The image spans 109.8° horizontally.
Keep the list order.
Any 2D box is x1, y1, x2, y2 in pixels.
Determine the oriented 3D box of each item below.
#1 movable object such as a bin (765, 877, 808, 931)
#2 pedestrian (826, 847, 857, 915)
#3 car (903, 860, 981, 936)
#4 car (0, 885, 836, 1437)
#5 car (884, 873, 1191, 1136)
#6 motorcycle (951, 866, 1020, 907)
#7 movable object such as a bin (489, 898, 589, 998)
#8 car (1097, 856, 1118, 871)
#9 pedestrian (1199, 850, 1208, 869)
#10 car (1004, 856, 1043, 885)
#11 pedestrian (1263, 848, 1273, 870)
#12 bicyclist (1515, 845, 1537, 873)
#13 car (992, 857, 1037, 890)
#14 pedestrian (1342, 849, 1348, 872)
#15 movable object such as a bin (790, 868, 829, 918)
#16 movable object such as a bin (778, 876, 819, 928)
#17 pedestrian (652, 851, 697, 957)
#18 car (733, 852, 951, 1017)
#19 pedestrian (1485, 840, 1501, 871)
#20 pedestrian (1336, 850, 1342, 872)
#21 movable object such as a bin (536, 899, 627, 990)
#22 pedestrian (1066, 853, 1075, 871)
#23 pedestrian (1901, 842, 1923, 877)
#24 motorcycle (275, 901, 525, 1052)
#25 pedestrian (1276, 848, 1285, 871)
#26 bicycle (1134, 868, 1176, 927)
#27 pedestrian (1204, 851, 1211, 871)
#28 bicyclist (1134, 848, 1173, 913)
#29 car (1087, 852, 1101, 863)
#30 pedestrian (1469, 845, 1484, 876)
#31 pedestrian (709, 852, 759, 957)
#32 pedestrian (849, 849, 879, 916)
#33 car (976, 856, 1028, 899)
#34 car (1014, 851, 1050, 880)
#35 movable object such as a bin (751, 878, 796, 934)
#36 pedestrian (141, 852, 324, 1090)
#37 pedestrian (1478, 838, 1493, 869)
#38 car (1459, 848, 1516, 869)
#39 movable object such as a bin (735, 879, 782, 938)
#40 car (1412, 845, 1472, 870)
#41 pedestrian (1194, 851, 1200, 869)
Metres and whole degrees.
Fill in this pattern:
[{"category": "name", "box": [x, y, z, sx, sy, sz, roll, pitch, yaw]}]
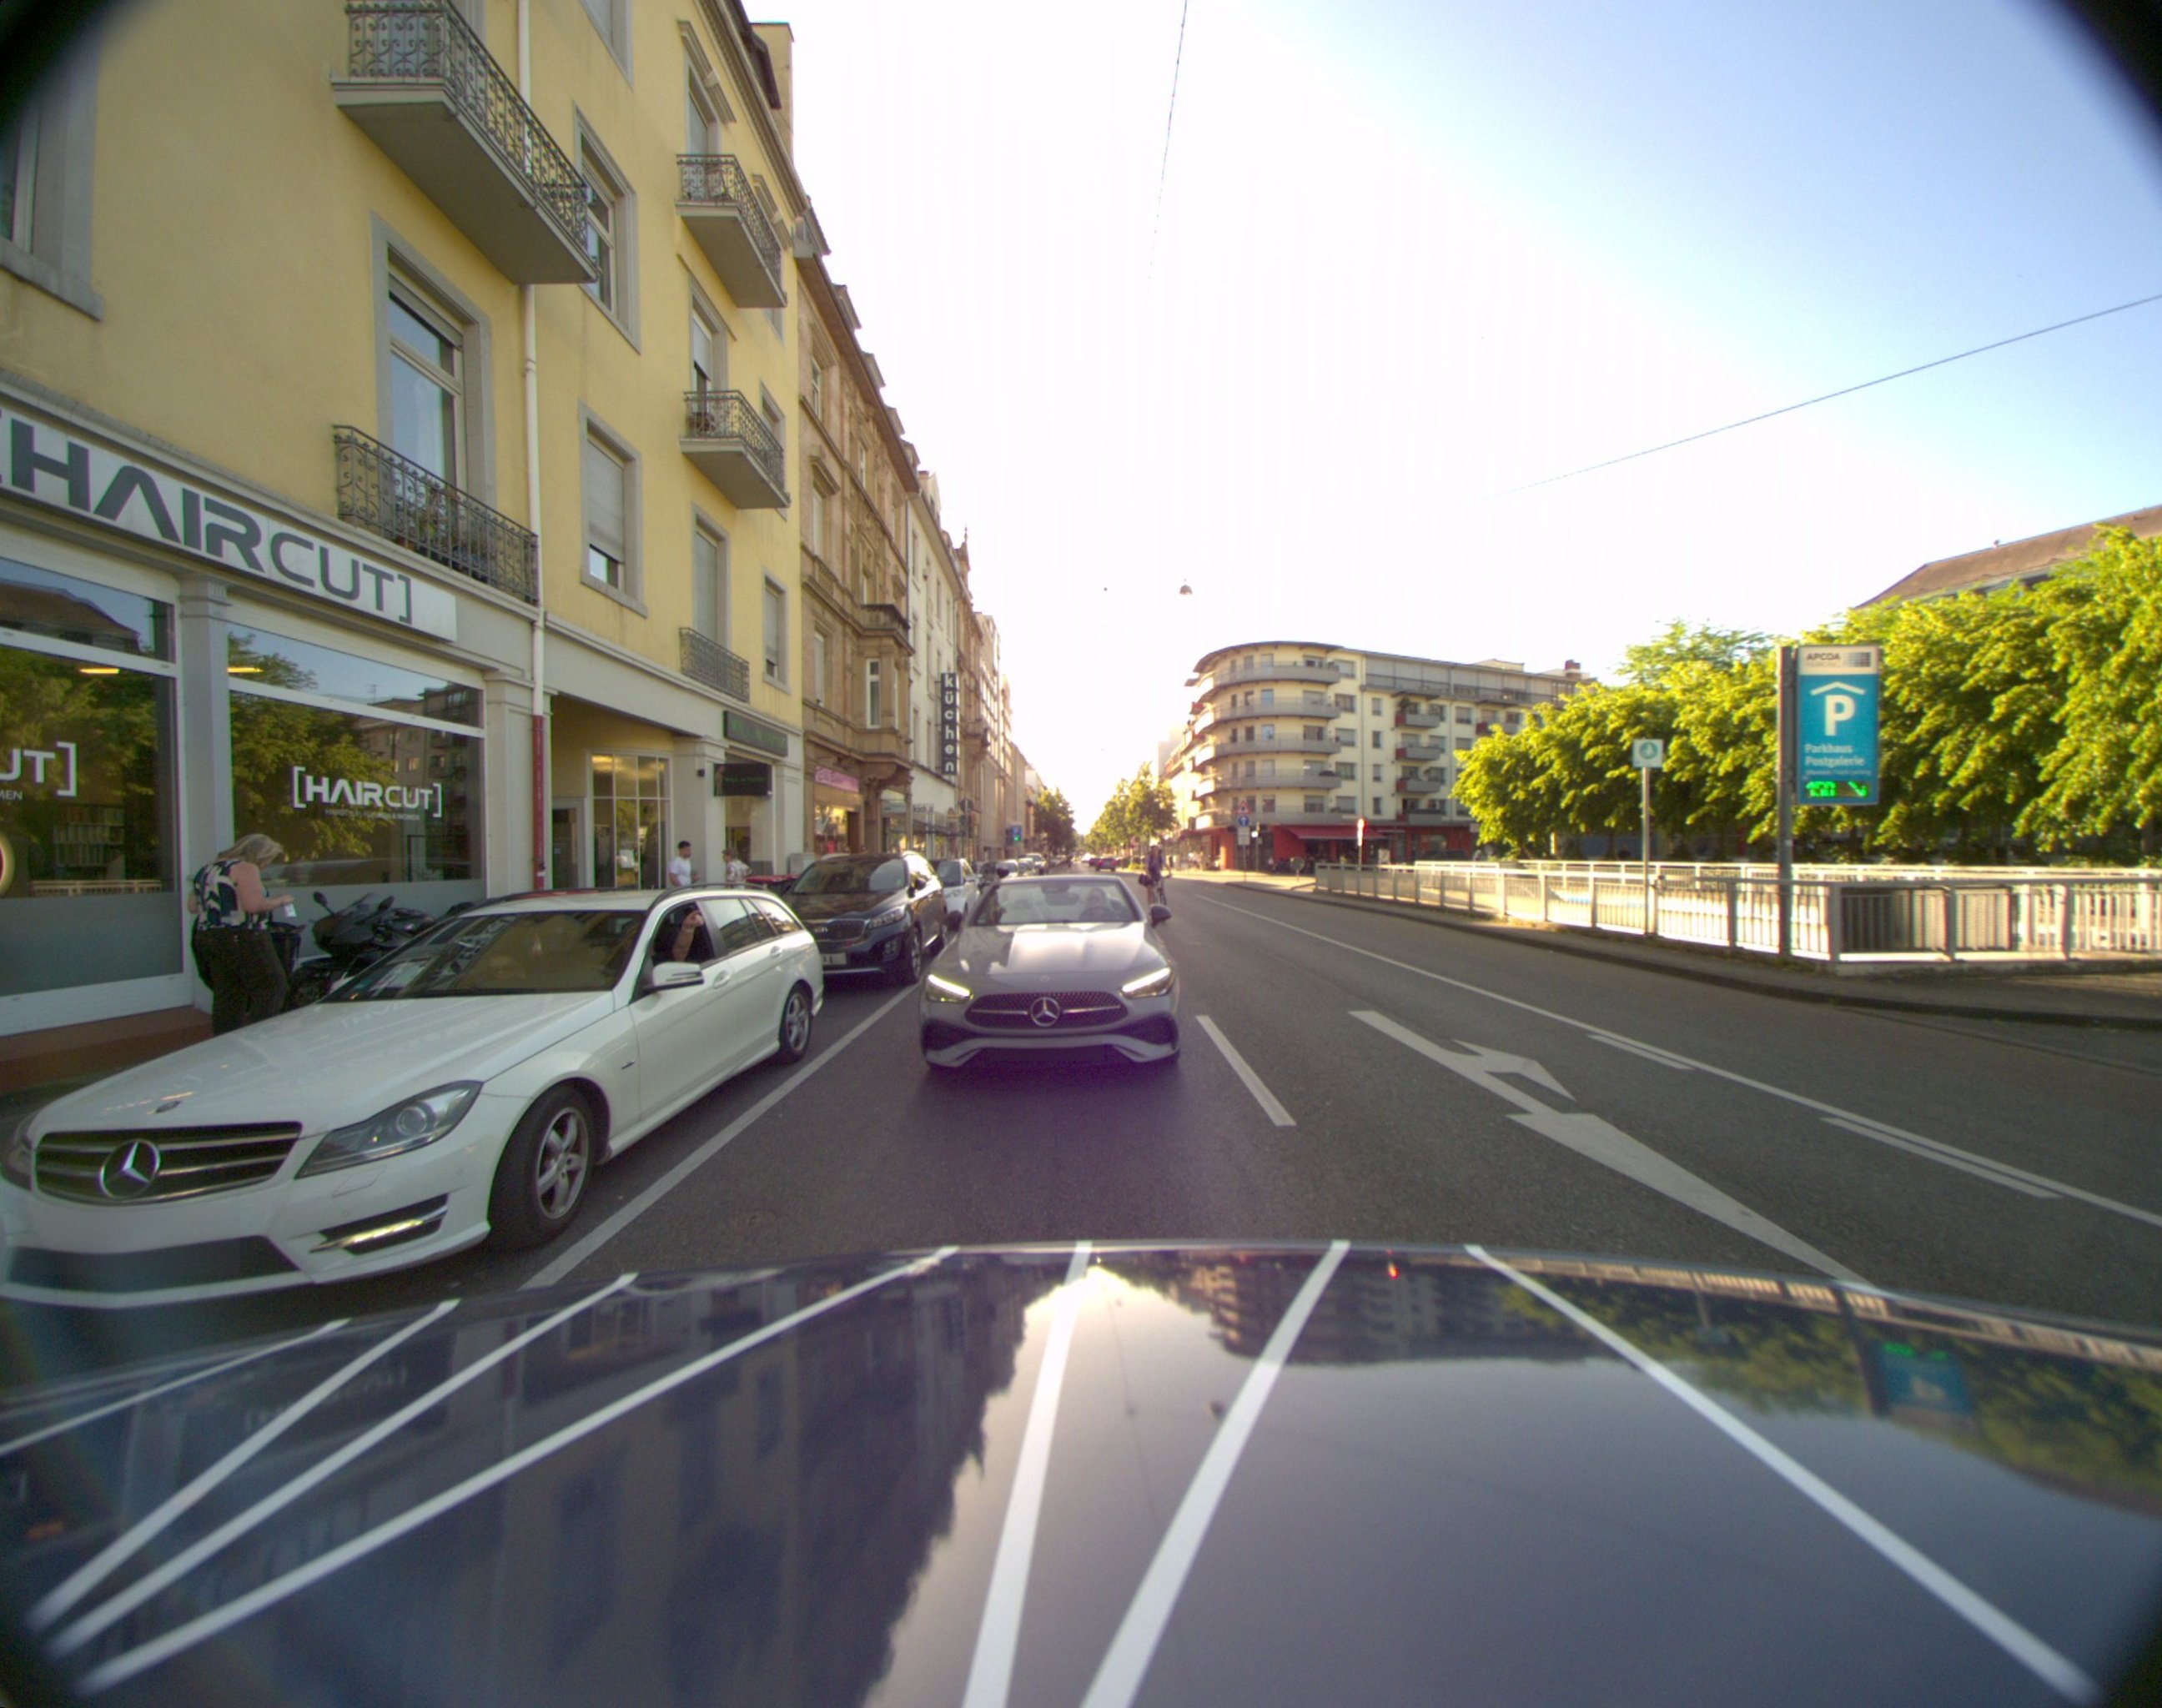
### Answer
[{"category": "movable object such as a bin", "box": [-6.076, 1.014, 15.686, 0.606, 1.060, 0.619, 2, 1, 0]}, {"category": "pedestrian", "box": [-5.854, 0.658, 18.588, 0.619, 1.623, 0.462, -2, 1, -10]}, {"category": "car", "box": [-3.037, 0.910, 17.021, 1.275, 1.509, 2.794, -1, 0, -2]}, {"category": "car", "box": [-3.064, 1.024, 4.515, 1.743, 1.438, 4.463, -1, 0, 0]}, {"category": "car", "box": [-0.254, 0.979, 6.845, 1.848, 1.440, 4.373, -1, 0, 0]}, {"category": "motorcycle", "box": [-3.215, 1.079, 25.761, 2.178, 1.272, 0.866, -2, 1, -42]}, {"category": "movable object such as a bin", "box": [-6.148, 1.052, 8.643, 0.661, 1.035, 0.619, 2, 1, 3]}, {"category": "car", "box": [2.627, 0.879, 75.076, 1.806, 1.388, 3.926, -1, 0, -1]}, {"category": "pedestrian", "box": [10.266, 0.440, 63.897, 0.570, 1.612, 0.793, -2, 1, -3]}, {"category": "car", "box": [-2.991, 0.837, 40.324, 1.737, 1.409, 3.802, -1, 0, 0]}, {"category": "pedestrian", "box": [14.596, 0.400, 59.273, 0.575, 1.698, 0.642, -1, 1, 3]}, {"category": "bicyclist", "box": [25.985, 0.269, 44.360, 0.973, 1.605, 0.715, -1, 1, 40]}, {"category": "car", "box": [-3.071, 0.869, 35.796, 1.737, 1.409, 3.802, -1, 0, 0]}, {"category": "pedestrian", "box": [19.345, 0.497, 55.706, 0.270, 1.658, 0.362, -1, 1, 32]}, {"category": "movable object such as a bin", "box": [-6.062, 0.868, 16.975, 0.606, 1.060, 0.619, 2, 1, 0]}, {"category": "movable object such as a bin", "box": [-6.065, 1.020, 16.320, 0.606, 1.060, 0.619, 2, 1, 0]}, {"category": "pedestrian", "box": [-6.469, 0.782, 12.105, 0.337, 1.651, 0.525, 1, 1, 24]}, {"category": "car", "box": [-2.978, 0.867, 10.539, 1.760, 1.726, 4.571, -1, 0, -3]}, {"category": "pedestrian", "box": [24.104, 0.100, 44.470, 0.602, 1.782, 0.581, -3, 1, -40]}, {"category": "pedestrian", "box": [18.929, 0.510, 55.788, 0.322, 1.658, 0.362, -1, 1, 32]}, {"category": "movable object such as a bin", "box": [-6.079, 1.084, 9.278, 0.669, 1.019, 0.619, 2, 1, 3]}, {"category": "pedestrian", "box": [-0.960, 0.736, 69.209, 0.774, 1.606, 0.696, -1, 1, -3]}, {"category": "pedestrian", "box": [42.911, 0.281, 39.229, 0.602, 1.782, 0.581, -2, 1, -20]}, {"category": "motorcycle", "box": [-6.214, 1.045, 7.120, 0.551, 1.085, 2.009, 0, 0, -1]}, {"category": "pedestrian", "box": [15.402, 0.431, 58.659, 0.575, 1.698, 0.642, -1, 1, 3]}, {"category": "bicycle", "box": [1.673, 0.962, 17.515, 0.798, 1.226, 1.773, -1, 0, 1]}, {"category": "pedestrian", "box": [10.686, 0.559, 64.233, 0.442, 1.663, 0.516, -2, 1, -3]}, {"category": "bicyclist", "box": [1.660, 0.593, 17.525, 0.798, 1.426, 1.008, -1, 1, 1]}, {"category": "car", "box": [1.816, 0.489, 107.107, 1.895, 1.388, 4.255, -1, 0, 0]}, {"category": "pedestrian", "box": [22.830, 0.381, 43.836, 0.602, 1.782, 0.581, -3, 2, -45]}, {"category": "pedestrian", "box": [-5.627, 0.799, 12.342, 0.450, 1.651, 0.593, 0, 1, 16]}, {"category": "pedestrian", "box": [-5.338, 0.697, 18.673, 0.413, 1.623, 0.516, -1, 1, 29]}, {"category": "car", "box": [-3.042, 0.880, 29.921, 1.737, 1.509, 4.164, -1, 0, -2]}, {"category": "car", "box": [-2.995, 0.665, 46.954, 1.895, 1.680, 4.049, -1, 0, 0]}, {"category": "movable object such as a bin", "box": [-6.088, 1.021, 15.072, 0.606, 1.060, 0.619, 2, 1, 0]}, {"category": "pedestrian", "box": [-6.066, 0.800, 5.462, 0.698, 1.623, 0.532, 0, 1, -2]}, {"category": "pedestrian", "box": [23.467, -0.008, 44.120, 0.602, 1.782, 0.581, -3, 2, -45]}, {"category": "car", "box": [34.252, 0.363, 63.988, 4.300, 1.611, 1.951, -2, 1, -24]}, {"category": "movable object such as a bin", "box": [-6.111, 1.028, 14.425, 0.606, 1.060, 0.619, 2, 1, 0]}, {"category": "car", "box": [29.327, 0.283, 61.768, 4.432, 1.901, 1.951, -2, 1, -24]}, {"category": "pedestrian", "box": [9.771, 0.483, 63.913, 0.376, 1.521, 0.516, -2, 1, -3]}]
